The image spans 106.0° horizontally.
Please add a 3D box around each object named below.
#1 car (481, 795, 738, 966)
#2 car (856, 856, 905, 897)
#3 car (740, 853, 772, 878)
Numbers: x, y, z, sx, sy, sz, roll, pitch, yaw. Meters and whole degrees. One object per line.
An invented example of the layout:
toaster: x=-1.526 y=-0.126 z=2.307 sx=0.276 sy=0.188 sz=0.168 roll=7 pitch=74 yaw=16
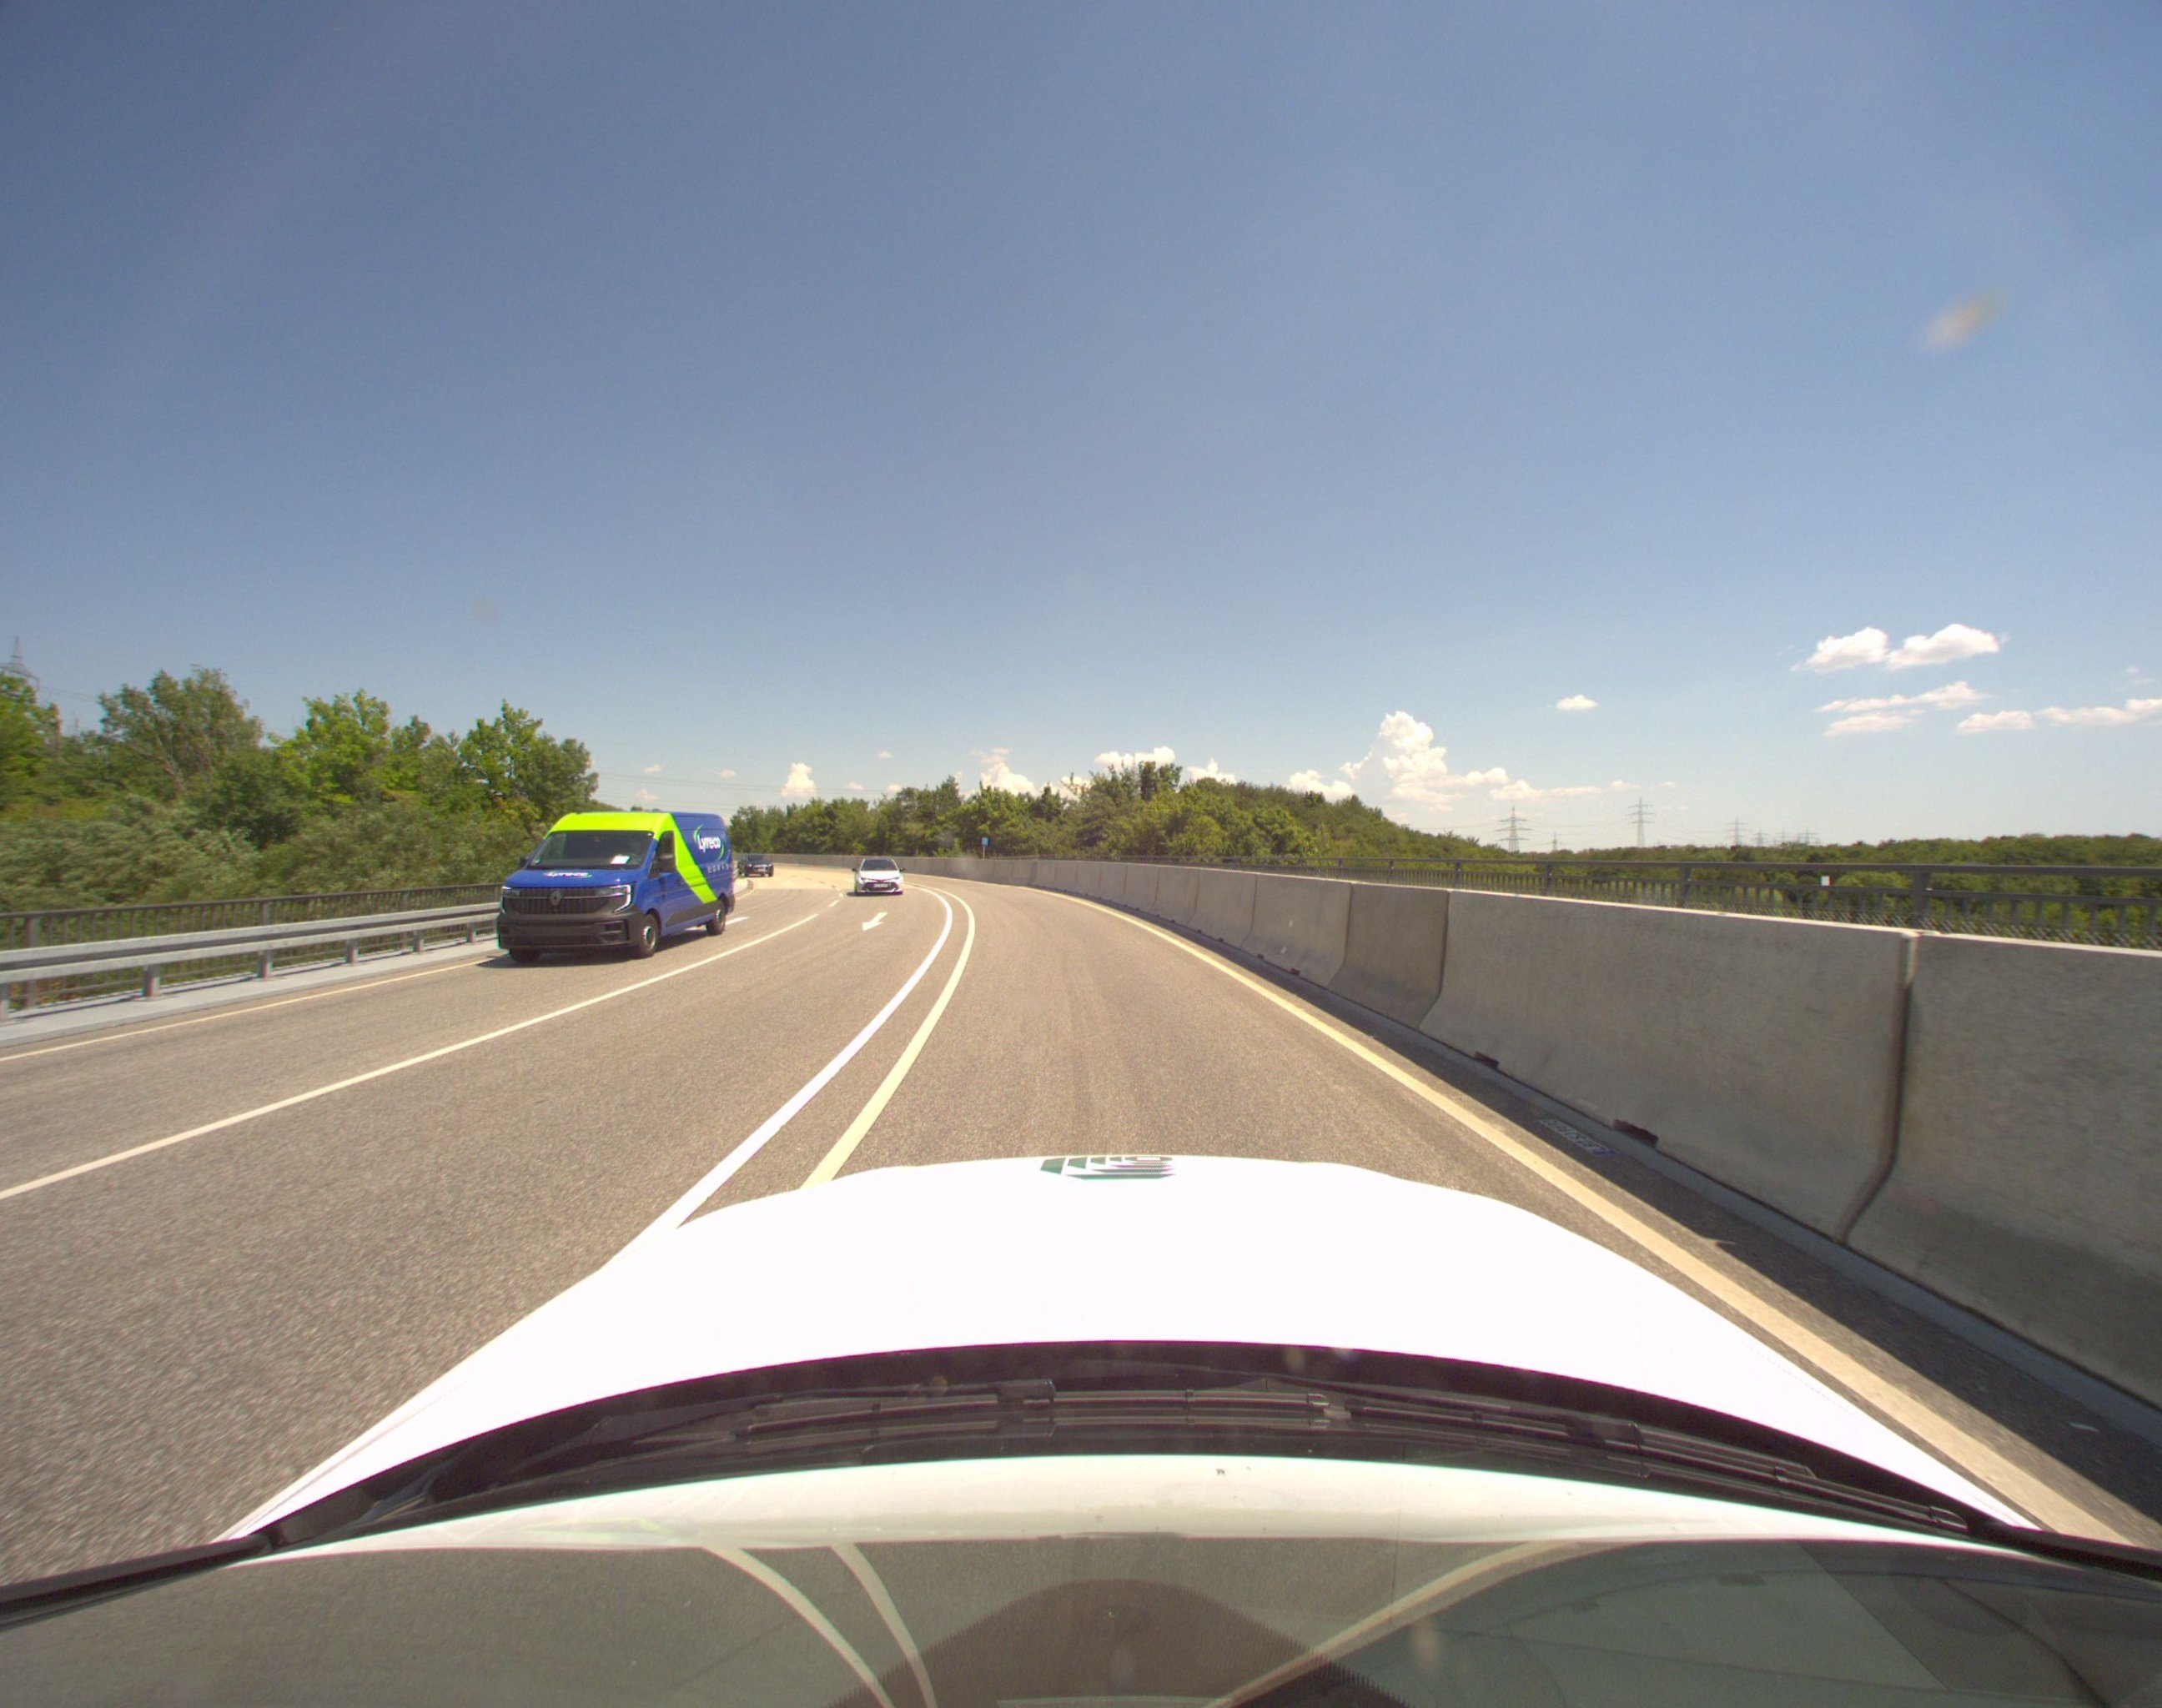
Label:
car: x=-8.061 y=0.395 z=14.705 sx=1.992 sy=2.484 sz=5.467 roll=1 pitch=0 yaw=-7
car: x=-8.035 y=0.843 z=32.451 sx=1.746 sy=1.459 sz=4.343 roll=-1 pitch=0 yaw=-15
car: x=-22.561 y=0.756 z=56.504 sx=1.823 sy=1.595 sz=4.412 roll=-3 pitch=2 yaw=-24
